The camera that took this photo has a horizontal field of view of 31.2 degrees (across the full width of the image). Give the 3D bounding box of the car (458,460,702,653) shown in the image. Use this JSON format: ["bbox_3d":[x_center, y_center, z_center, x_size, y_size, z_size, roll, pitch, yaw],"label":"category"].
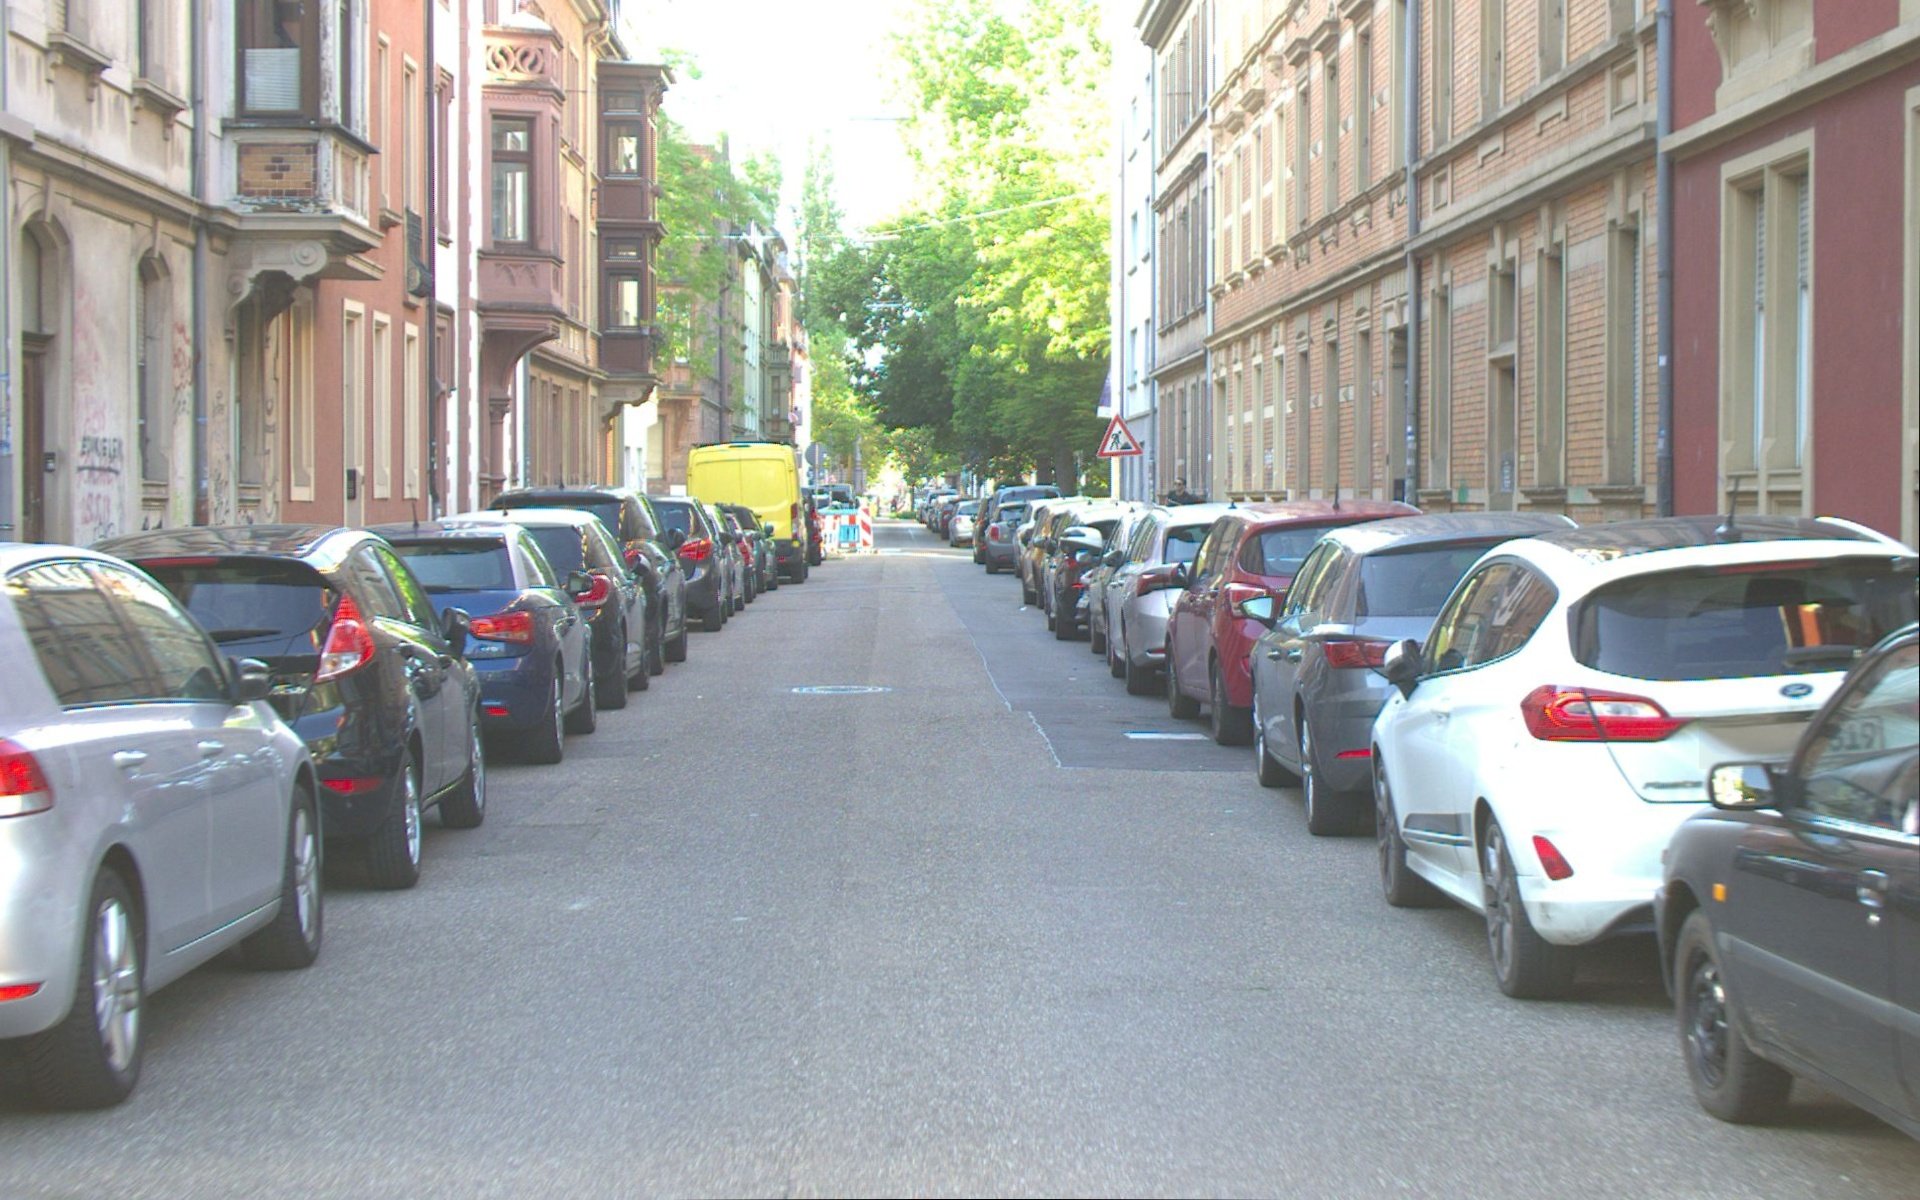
[{"bbox_3d":[-3.379,-0.442,31.213,1.761,1.612,4.189,1,2,0],"label":"car"}]

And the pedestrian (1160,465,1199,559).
[{"bbox_3d":[3.879,-1.554,60.819,0.653,1.625,0.880,-1,1,3],"label":"pedestrian"}]

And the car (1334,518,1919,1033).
[{"bbox_3d":[2.437,0.475,12.115,1.705,1.457,3.971,1,2,-1],"label":"car"}]

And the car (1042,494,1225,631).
[{"bbox_3d":[1.890,-0.462,38.606,1.777,1.392,4.318,1,2,-1],"label":"car"}]

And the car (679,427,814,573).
[{"bbox_3d":[-3.853,-1.848,63.016,2.175,2.499,5.879,-2,2,-1],"label":"car"}]

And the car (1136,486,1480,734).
[{"bbox_3d":[2.222,-0.003,22.937,1.658,1.474,4.025,0,2,-3],"label":"car"}]

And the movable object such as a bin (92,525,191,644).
[{"bbox_3d":[-6.482,-0.129,27.239,0.612,0.917,0.734,1,2,-1],"label":"movable object such as a bin"}]

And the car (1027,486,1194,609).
[{"bbox_3d":[1.915,-0.722,44.853,1.725,1.412,4.095,-4,2,-3],"label":"car"}]

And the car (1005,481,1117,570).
[{"bbox_3d":[1.886,-1.447,65.202,1.753,1.513,4.444,-4,2,-2],"label":"car"}]

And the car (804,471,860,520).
[{"bbox_3d":[-5.756,-4.686,154.675,2.309,2.107,5.170,1,1,0],"label":"car"}]

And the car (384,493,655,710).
[{"bbox_3d":[-3.258,-0.048,26.038,1.642,1.450,3.840,-2,2,-2],"label":"car"}]

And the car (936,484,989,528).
[{"bbox_3d":[0.085,-3.593,131.874,1.894,1.619,4.001,1,1,-2],"label":"car"}]

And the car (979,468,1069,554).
[{"bbox_3d":[1.401,-2.006,76.513,1.753,1.780,4.724,-2,2,-1],"label":"car"}]

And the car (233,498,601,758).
[{"bbox_3d":[-3.204,0.101,20.911,1.781,1.398,3.743,1,2,-2],"label":"car"}]

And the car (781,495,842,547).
[{"bbox_3d":[-5.033,-2.687,116.856,1.882,1.701,4.000,-1,1,0],"label":"car"}]

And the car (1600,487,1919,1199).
[{"bbox_3d":[2.669,0.507,7.595,1.668,1.478,3.707,1,2,-2],"label":"car"}]

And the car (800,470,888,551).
[{"bbox_3d":[-2.652,-2.035,77.543,1.818,1.760,4.336,1,2,-4],"label":"car"}]

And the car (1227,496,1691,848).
[{"bbox_3d":[2.373,0.261,17.296,1.676,1.498,4.069,1,2,-1],"label":"car"}]

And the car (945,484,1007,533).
[{"bbox_3d":[0.490,-2.957,110.600,1.723,1.517,4.001,0,2,-4],"label":"car"}]

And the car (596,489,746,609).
[{"bbox_3d":[-3.848,-0.723,46.242,1.694,1.469,3.920,-2,2,-1],"label":"car"}]

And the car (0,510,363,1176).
[{"bbox_3d":[-2.990,0.503,9.863,1.781,1.478,3.932,1,2,1],"label":"car"}]

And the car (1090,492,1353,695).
[{"bbox_3d":[2.044,-0.118,27.989,1.762,1.478,4.402,1,2,0],"label":"car"}]

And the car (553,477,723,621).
[{"bbox_3d":[-3.781,-0.643,40.896,1.781,1.600,4.070,1,2,-2],"label":"car"}]

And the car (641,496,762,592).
[{"bbox_3d":[-3.848,-0.862,51.640,1.618,1.322,3.613,-2,2,-2],"label":"car"}]

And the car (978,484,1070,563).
[{"bbox_3d":[1.306,-1.615,71.083,1.754,1.448,4.288,-3,2,1],"label":"car"}]

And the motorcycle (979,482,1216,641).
[{"bbox_3d":[1.429,-0.394,35.559,2.218,1.531,0.890,2,2,-27],"label":"motorcycle"}]

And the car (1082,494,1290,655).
[{"bbox_3d":[2.114,-0.290,33.053,1.692,1.401,3.993,1,2,0],"label":"car"}]

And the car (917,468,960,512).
[{"bbox_3d":[-1.150,-5.825,182.268,2.160,2.247,4.526,1,1,-2],"label":"car"}]

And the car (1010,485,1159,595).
[{"bbox_3d":[1.758,-0.897,49.594,1.753,1.441,4.070,-3,2,-3],"label":"car"}]

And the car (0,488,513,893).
[{"bbox_3d":[-3.040,0.277,14.706,1.781,1.478,3.743,1,2,0],"label":"car"}]

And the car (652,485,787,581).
[{"bbox_3d":[-3.901,-1.123,56.360,1.718,1.408,3.897,-4,2,2],"label":"car"}]
